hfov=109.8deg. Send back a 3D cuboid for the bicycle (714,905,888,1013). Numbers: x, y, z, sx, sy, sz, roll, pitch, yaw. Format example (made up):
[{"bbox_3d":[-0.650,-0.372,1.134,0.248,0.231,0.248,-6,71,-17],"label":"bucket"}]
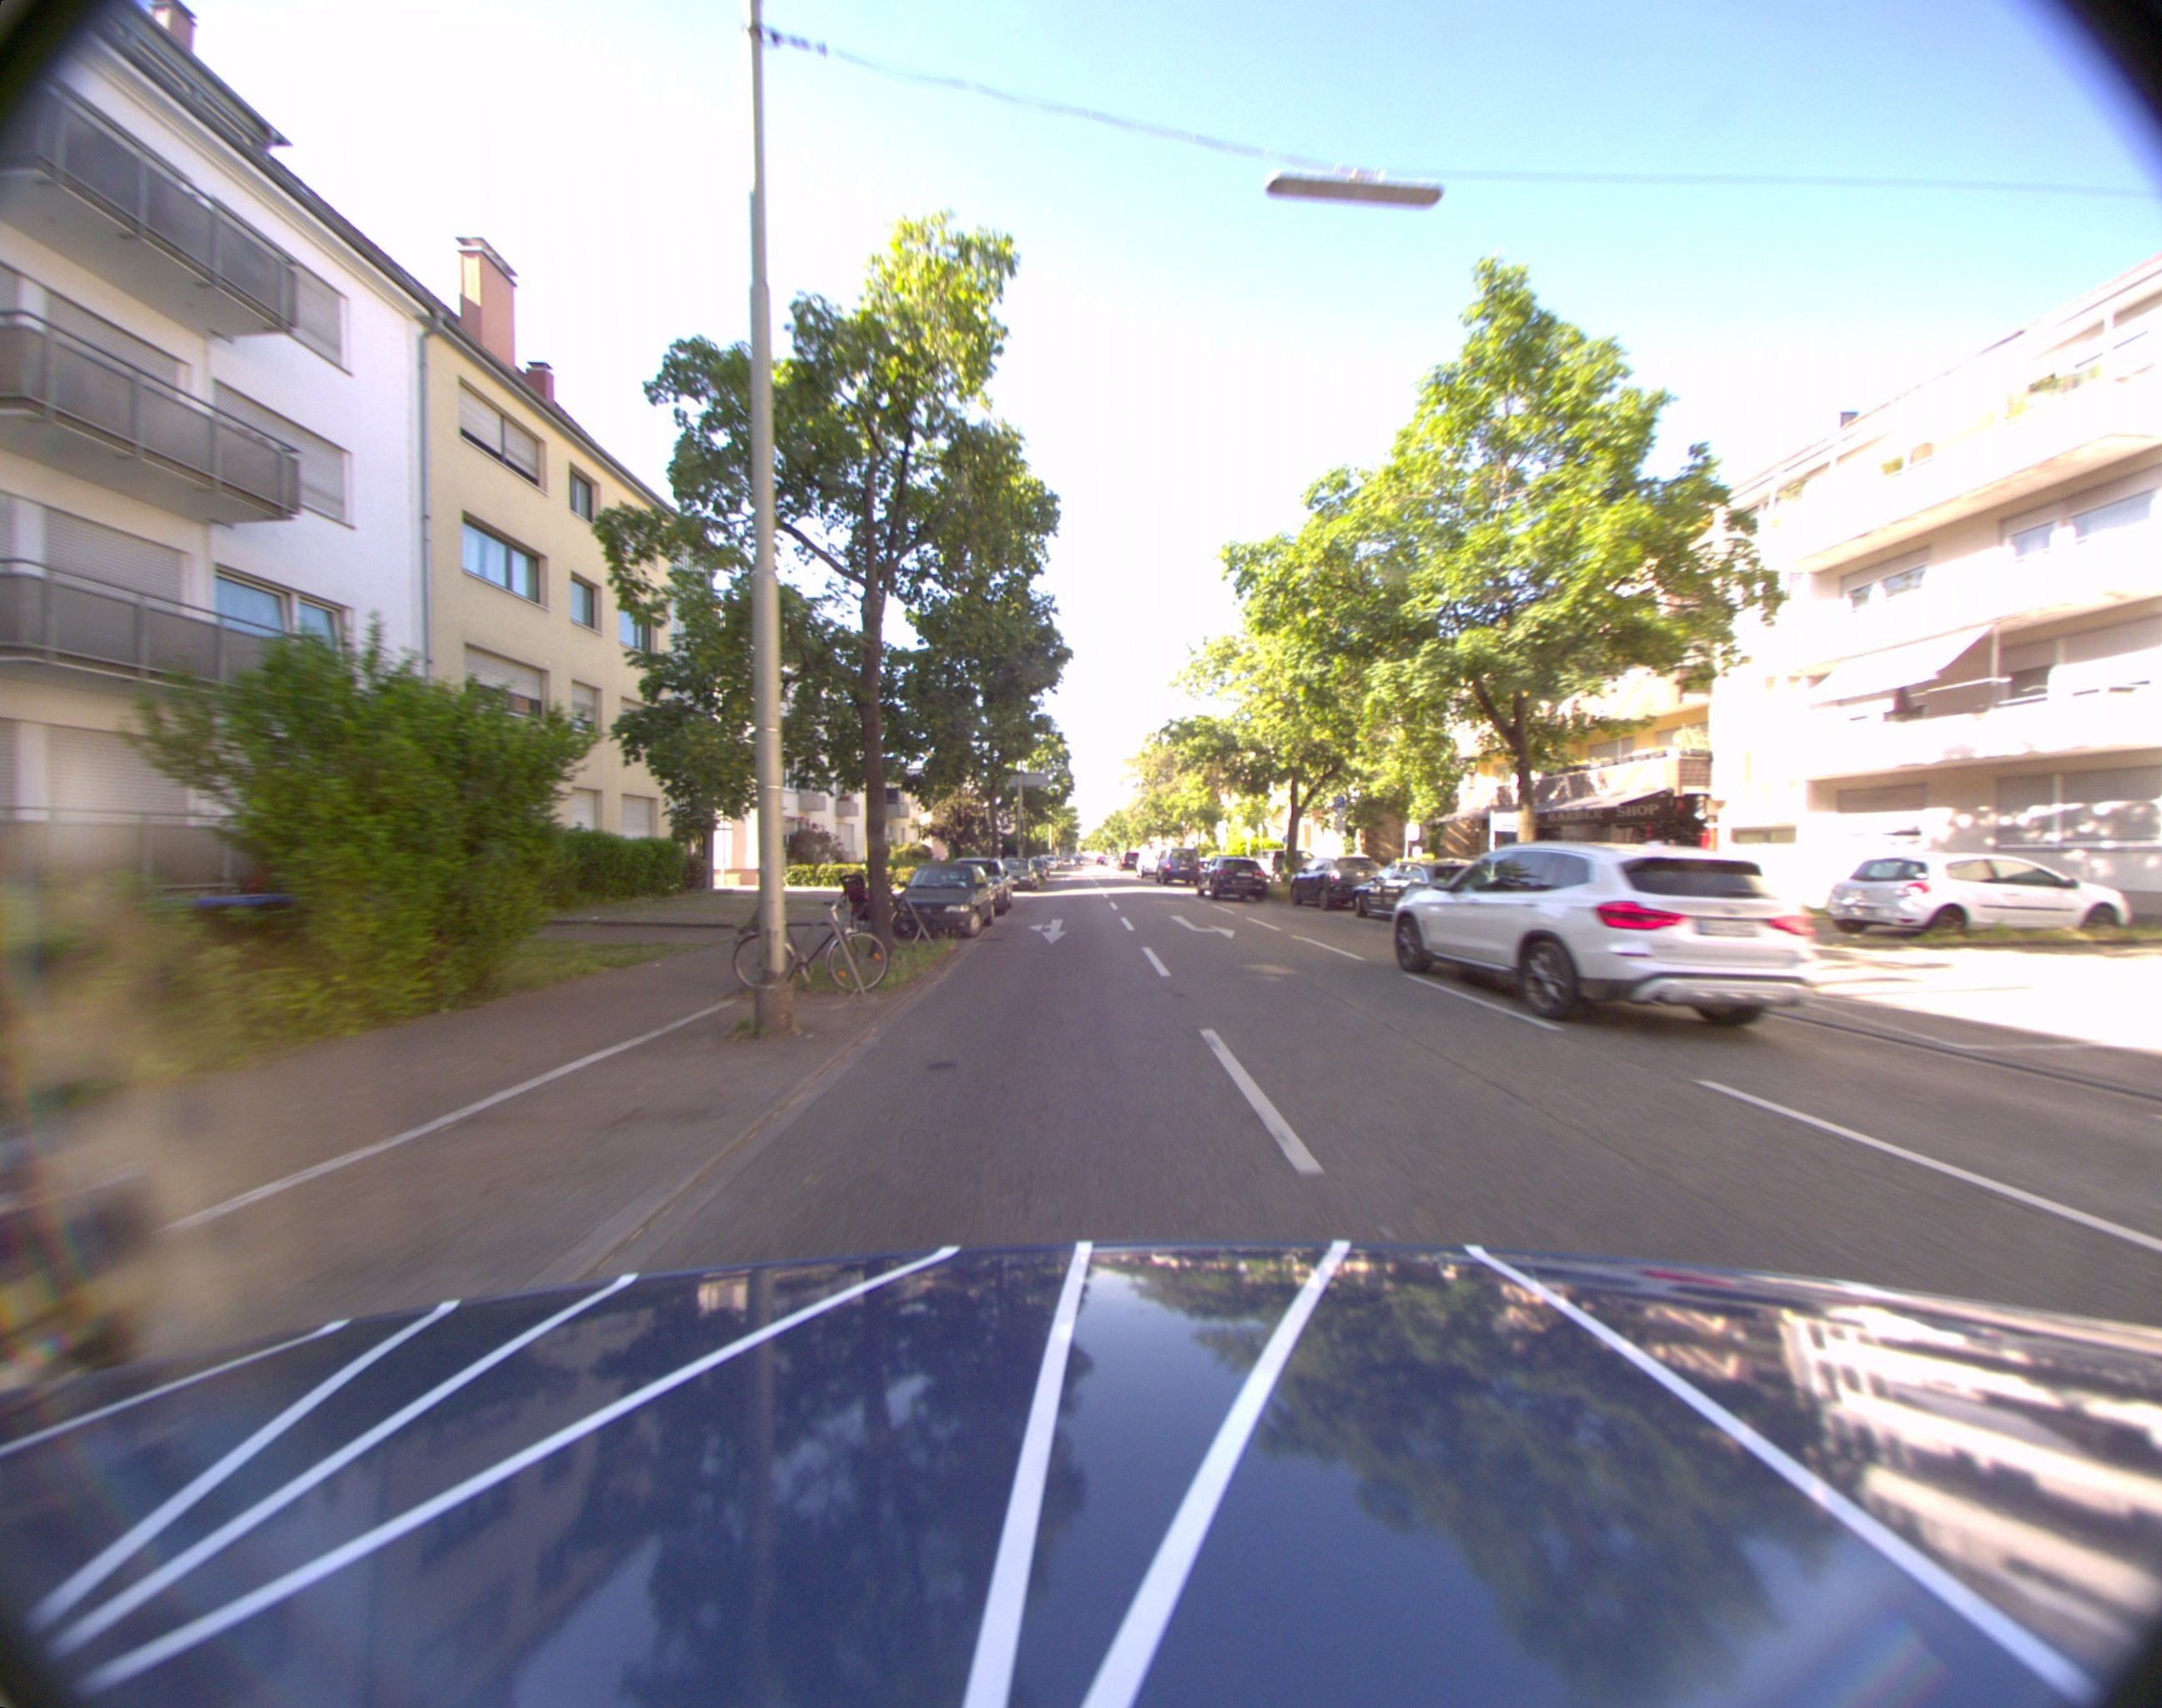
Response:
[{"bbox_3d":[-3.079,1.132,8.383,1.742,1.016,0.524,2,3,7],"label":"bicycle"}]

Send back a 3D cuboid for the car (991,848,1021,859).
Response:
[{"bbox_3d":[-10.834,-0.099,110.003,3.997,1.432,1.831,3,0,0],"label":"car"}]

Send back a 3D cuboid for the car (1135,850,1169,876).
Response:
[{"bbox_3d":[4.950,0.590,53.305,1.820,1.733,4.492,2,0,-1],"label":"car"}]

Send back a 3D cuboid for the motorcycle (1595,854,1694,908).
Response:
[{"bbox_3d":[16.021,0.756,21.655,2.154,1.477,0.782,-1,0,8],"label":"motorcycle"}]

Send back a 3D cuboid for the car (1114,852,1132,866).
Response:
[{"bbox_3d":[4.601,0.527,83.787,1.696,1.445,4.173,2,0,-1],"label":"car"}]

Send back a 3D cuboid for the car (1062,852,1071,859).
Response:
[{"bbox_3d":[-3.406,0.310,179.133,1.822,1.541,4.304,0,0,0],"label":"car"}]

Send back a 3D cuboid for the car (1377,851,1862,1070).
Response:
[{"bbox_3d":[5.089,0.828,8.227,1.811,1.638,4.672,2,0,-1],"label":"car"}]

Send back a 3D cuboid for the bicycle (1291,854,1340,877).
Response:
[{"bbox_3d":[13.986,0.659,45.241,3.181,1.255,0.949,-1,3,-34],"label":"bicycle"}]

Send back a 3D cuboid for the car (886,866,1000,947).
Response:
[{"bbox_3d":[-2.716,0.983,15.785,1.616,1.375,3.976,1,0,0],"label":"car"}]

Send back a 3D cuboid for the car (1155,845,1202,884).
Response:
[{"bbox_3d":[5.098,0.536,40.427,1.808,1.900,4.711,2,0,0],"label":"car"}]

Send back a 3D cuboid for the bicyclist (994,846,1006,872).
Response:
[{"bbox_3d":[-5.759,0.359,54.094,0.726,1.783,1.015,1,1,0],"label":"bicyclist"}]

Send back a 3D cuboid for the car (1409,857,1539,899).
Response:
[{"bbox_3d":[14.225,0.868,27.738,3.991,1.447,1.735,-1,0,18],"label":"car"}]

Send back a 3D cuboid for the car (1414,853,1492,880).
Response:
[{"bbox_3d":[21.962,0.708,44.913,3.792,1.480,1.646,1,2,0],"label":"car"}]

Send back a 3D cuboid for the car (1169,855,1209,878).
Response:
[{"bbox_3d":[6.840,0.751,48.692,1.838,1.381,4.801,-1,0,0],"label":"car"}]

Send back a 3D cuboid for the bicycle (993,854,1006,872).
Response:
[{"bbox_3d":[-5.765,0.633,53.779,0.700,1.239,1.821,1,0,0],"label":"bicycle"}]

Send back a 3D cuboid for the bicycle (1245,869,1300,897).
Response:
[{"bbox_3d":[7.483,1.129,29.712,2.025,1.085,0.463,-1,0,23],"label":"bicycle"}]

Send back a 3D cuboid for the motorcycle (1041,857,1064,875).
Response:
[{"bbox_3d":[-2.163,0.882,56.879,0.701,1.264,2.426,1,0,-28],"label":"motorcycle"}]

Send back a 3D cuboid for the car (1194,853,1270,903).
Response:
[{"bbox_3d":[5.287,0.798,27.129,1.723,1.557,4.342,3,0,-1],"label":"car"}]

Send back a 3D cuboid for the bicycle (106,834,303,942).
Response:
[{"bbox_3d":[-11.419,0.409,9.996,0.593,1.280,1.689,3,0,0],"label":"bicycle"}]

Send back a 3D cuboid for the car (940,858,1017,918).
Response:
[{"bbox_3d":[-2.801,0.879,21.485,1.718,1.480,4.233,0,0,-2],"label":"car"}]

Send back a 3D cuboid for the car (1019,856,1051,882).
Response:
[{"bbox_3d":[-2.662,0.872,44.844,1.590,1.388,4.454,2,0,0],"label":"car"}]

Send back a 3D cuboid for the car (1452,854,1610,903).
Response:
[{"bbox_3d":[14.341,0.776,24.407,3.994,1.452,1.734,-1,0,8],"label":"car"}]

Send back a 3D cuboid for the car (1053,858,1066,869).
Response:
[{"bbox_3d":[-2.797,1.300,101.159,1.653,1.395,3.969,2,0,-1],"label":"car"}]

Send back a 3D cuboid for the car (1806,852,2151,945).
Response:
[{"bbox_3d":[15.841,0.747,13.582,3.997,1.478,1.881,-1,0,-1],"label":"car"}]

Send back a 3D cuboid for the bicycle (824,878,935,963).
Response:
[{"bbox_3d":[-3.187,1.017,12.111,1.671,1.230,0.470,0,1,-39],"label":"bicycle"}]

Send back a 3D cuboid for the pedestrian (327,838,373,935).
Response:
[{"bbox_3d":[-13.324,0.575,13.849,0.365,1.727,0.366,-3,1,-6],"label":"pedestrian"}]

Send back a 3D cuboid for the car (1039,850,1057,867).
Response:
[{"bbox_3d":[-3.292,0.465,77.178,1.773,1.649,4.340,1,0,-2],"label":"car"}]

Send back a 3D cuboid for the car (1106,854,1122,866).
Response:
[{"bbox_3d":[4.012,0.691,93.493,1.738,1.404,4.191,2,0,0],"label":"car"}]

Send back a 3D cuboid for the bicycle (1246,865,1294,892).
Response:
[{"bbox_3d":[8.137,1.040,32.756,1.932,1.128,0.463,-1,0,27],"label":"bicycle"}]

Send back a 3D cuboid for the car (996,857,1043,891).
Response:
[{"bbox_3d":[-2.731,0.870,34.420,1.696,1.419,4.147,0,0,1],"label":"car"}]

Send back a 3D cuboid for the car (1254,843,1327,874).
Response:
[{"bbox_3d":[13.554,0.272,49.102,4.334,1.868,1.876,-1,0,-23],"label":"car"}]

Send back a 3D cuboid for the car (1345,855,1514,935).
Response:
[{"bbox_3d":[7.804,0.826,17.572,1.726,1.527,4.679,-1,0,0],"label":"car"}]

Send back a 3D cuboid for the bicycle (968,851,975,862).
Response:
[{"bbox_3d":[-10.795,0.255,74.811,0.456,0.987,1.742,2,1,0],"label":"bicycle"}]

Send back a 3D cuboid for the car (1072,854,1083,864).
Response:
[{"bbox_3d":[-0.483,0.726,114.231,1.654,1.348,4.304,0,0,0],"label":"car"}]

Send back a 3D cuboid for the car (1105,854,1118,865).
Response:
[{"bbox_3d":[4.412,0.785,109.941,1.585,1.443,3.744,0,0,-3],"label":"car"}]

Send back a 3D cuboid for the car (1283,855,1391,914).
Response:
[{"bbox_3d":[7.672,0.857,23.196,1.727,1.587,4.135,-1,0,-3],"label":"car"}]

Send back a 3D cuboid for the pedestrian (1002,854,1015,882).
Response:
[{"bbox_3d":[-4.276,0.820,44.949,0.671,1.672,0.776,0,1,0],"label":"pedestrian"}]

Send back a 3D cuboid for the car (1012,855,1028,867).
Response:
[{"bbox_3d":[-7.163,0.789,89.019,1.536,1.348,3.717,3,0,0],"label":"car"}]

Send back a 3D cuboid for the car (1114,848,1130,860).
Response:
[{"bbox_3d":[5.481,0.009,101.882,1.841,1.604,4.400,2,0,-1],"label":"car"}]

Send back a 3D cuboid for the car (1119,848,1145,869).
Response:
[{"bbox_3d":[4.960,0.418,74.021,2.021,1.940,5.177,2,0,-1],"label":"car"}]

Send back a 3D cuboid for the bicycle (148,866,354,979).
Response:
[{"bbox_3d":[-10.736,0.825,9.941,0.624,1.280,1.842,3,0,0],"label":"bicycle"}]

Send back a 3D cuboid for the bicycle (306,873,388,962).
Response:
[{"bbox_3d":[-11.232,0.935,11.618,1.535,1.215,0.464,3,1,30],"label":"bicycle"}]
